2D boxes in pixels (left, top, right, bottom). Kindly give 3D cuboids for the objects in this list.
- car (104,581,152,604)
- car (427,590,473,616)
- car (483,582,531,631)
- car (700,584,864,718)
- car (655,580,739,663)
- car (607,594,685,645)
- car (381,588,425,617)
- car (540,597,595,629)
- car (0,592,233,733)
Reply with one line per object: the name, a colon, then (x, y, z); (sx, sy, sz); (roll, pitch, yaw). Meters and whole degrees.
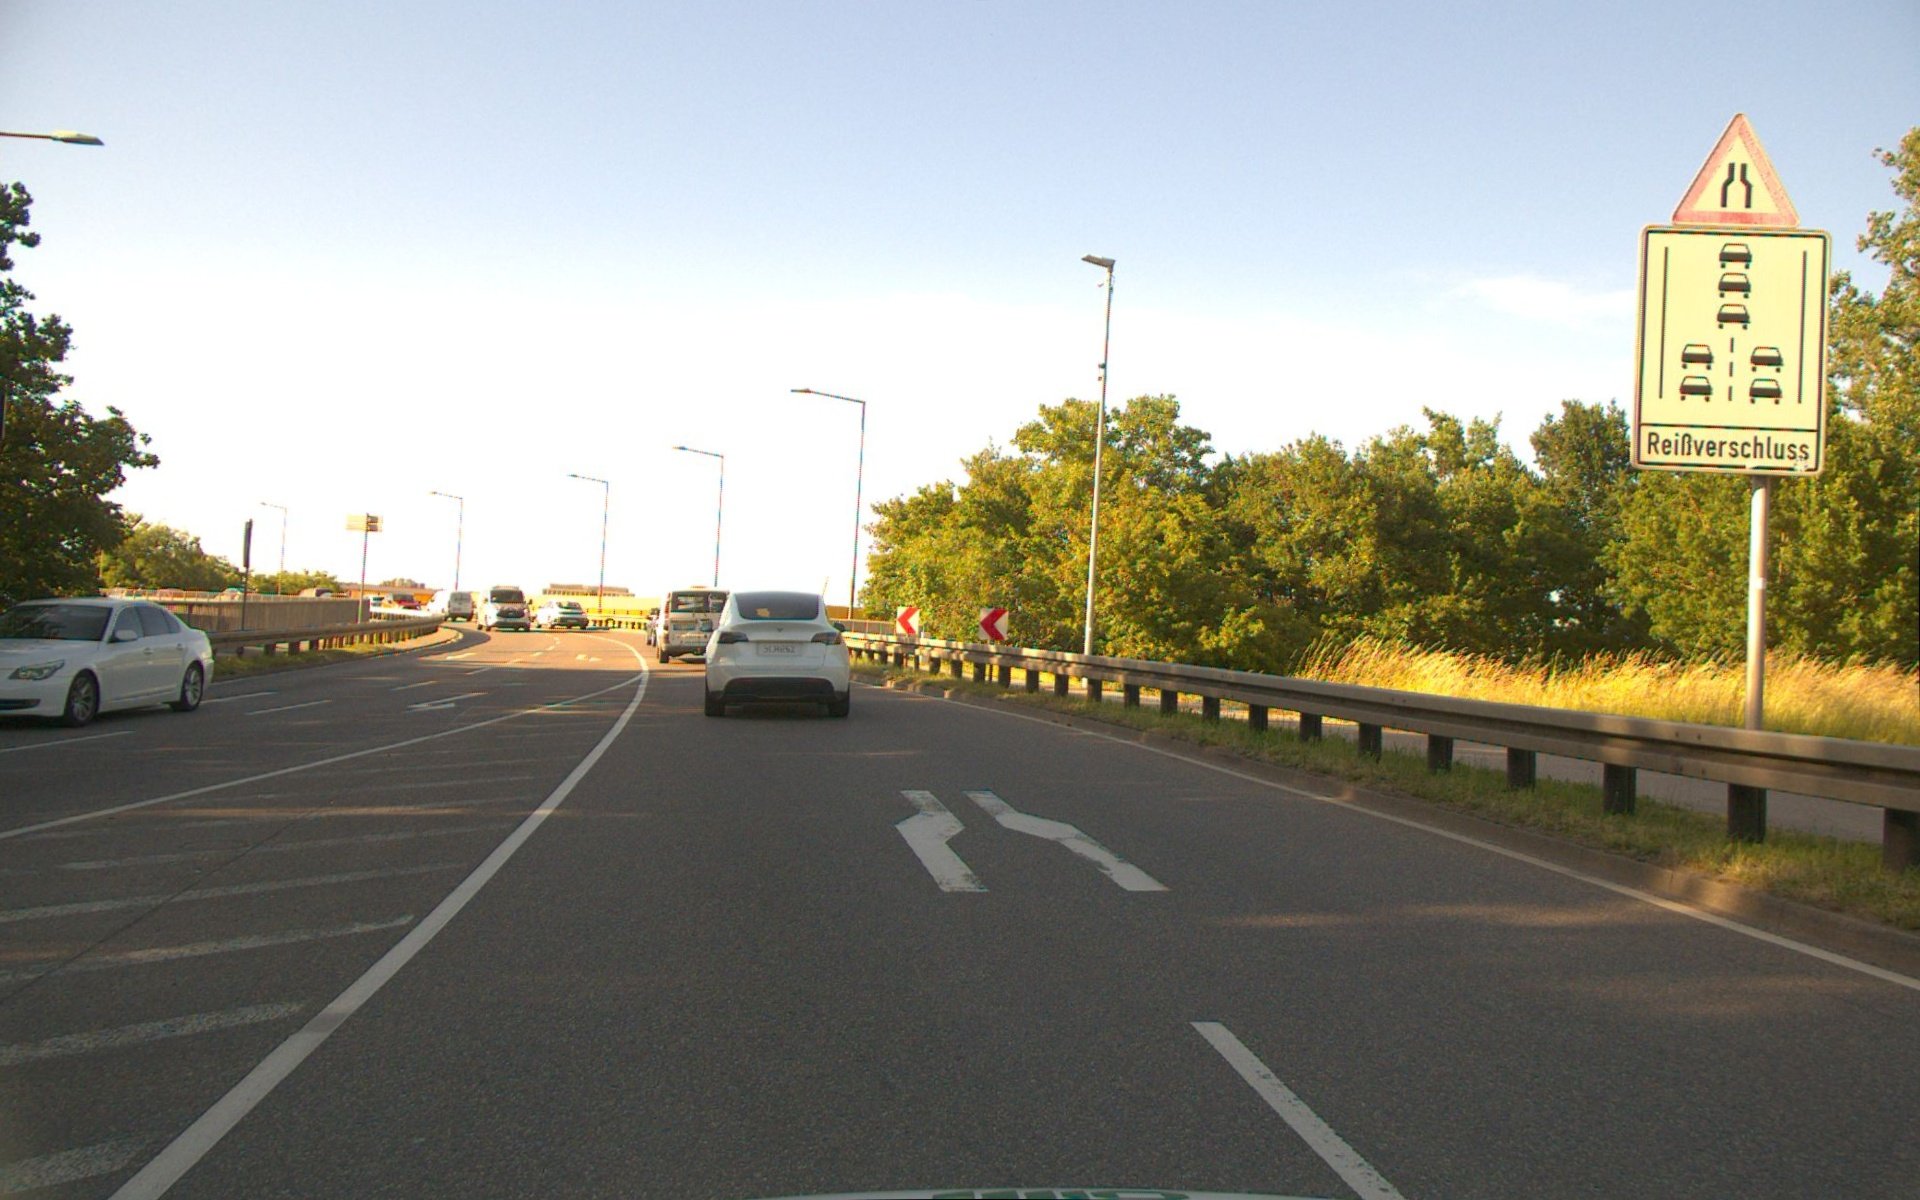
car: (-72.497, -0.662, 144.141); (3.915, 1.985, 1.957); (1, 0, 32)
car: (-32.078, 0.195, 103.995); (1.818, 1.583, 3.849); (1, 0, -33)
car: (-20.922, 0.281, 76.297); (1.918, 2.149, 5.245); (1, 0, -17)
car: (-2.531, 0.636, 22.645); (1.949, 1.666, 4.052); (0, 0, -10)
car: (-6.768, 0.536, 42.267); (1.969, 1.974, 4.456); (1, 0, -10)
car: (-10.657, 0.640, 55.944); (1.940, 1.666, 3.976); (0, 0, -20)
car: (-33.672, 0.120, 99.949); (1.785, 1.666, 3.959); (1, 0, -30)
car: (-20.265, 0.633, 85.321); (1.969, 1.566, 3.968); (1, 0, -25)
car: (-10.756, 0.675, 20.253); (1.810, 1.513, 4.626); (1, 0, -3)
